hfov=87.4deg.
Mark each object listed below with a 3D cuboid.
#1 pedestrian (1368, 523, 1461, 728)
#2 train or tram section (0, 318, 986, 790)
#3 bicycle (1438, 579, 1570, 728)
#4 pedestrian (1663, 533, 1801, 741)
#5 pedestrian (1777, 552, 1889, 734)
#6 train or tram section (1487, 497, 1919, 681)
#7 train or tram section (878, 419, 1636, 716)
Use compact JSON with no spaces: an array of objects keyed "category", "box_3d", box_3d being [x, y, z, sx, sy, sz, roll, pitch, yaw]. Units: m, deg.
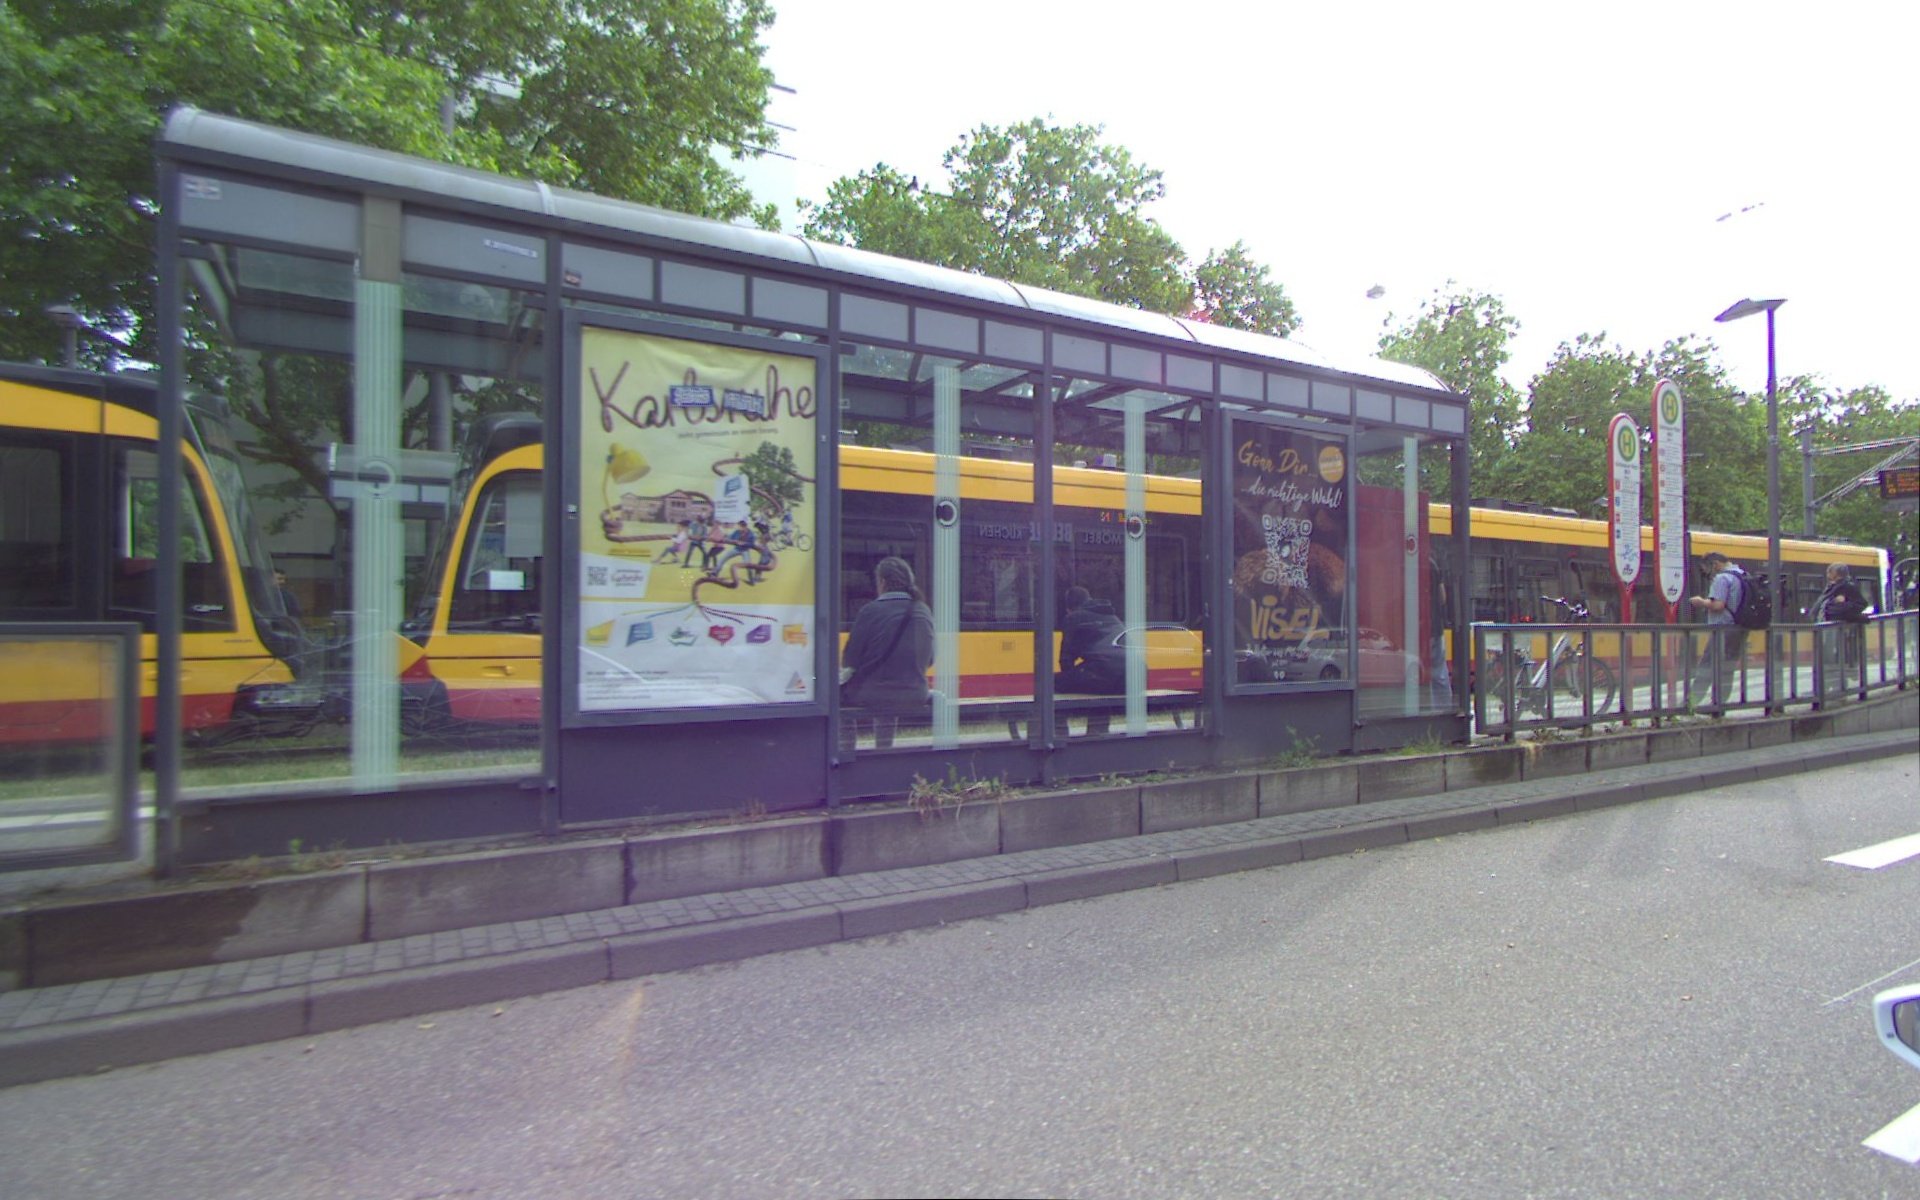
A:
[{"category":"pedestrian","box_3d":[3.827,0.206,8.467,0.466,1.654,0.528,1,0,-32]},{"category":"train or tram section","box_3d":[-6.962,-0.335,9.578,15.116,3.579,3.045,1,0,-31]},{"category":"bicycle","box_3d":[4.776,0.449,8.799,1.275,1.238,0.416,1,0,-31]},{"category":"pedestrian","box_3d":[7.882,0.370,10.285,0.803,2.040,0.754,1,0,-7]},{"category":"pedestrian","box_3d":[10.207,0.477,11.776,0.741,2.040,0.818,1,0,23]},{"category":"train or tram section","box_3d":[19.287,-0.123,25.136,15.664,3.636,3.045,1,0,-31]},{"category":"train or tram section","box_3d":[6.060,-0.298,17.288,15.116,3.579,3.045,1,0,-31]}]
